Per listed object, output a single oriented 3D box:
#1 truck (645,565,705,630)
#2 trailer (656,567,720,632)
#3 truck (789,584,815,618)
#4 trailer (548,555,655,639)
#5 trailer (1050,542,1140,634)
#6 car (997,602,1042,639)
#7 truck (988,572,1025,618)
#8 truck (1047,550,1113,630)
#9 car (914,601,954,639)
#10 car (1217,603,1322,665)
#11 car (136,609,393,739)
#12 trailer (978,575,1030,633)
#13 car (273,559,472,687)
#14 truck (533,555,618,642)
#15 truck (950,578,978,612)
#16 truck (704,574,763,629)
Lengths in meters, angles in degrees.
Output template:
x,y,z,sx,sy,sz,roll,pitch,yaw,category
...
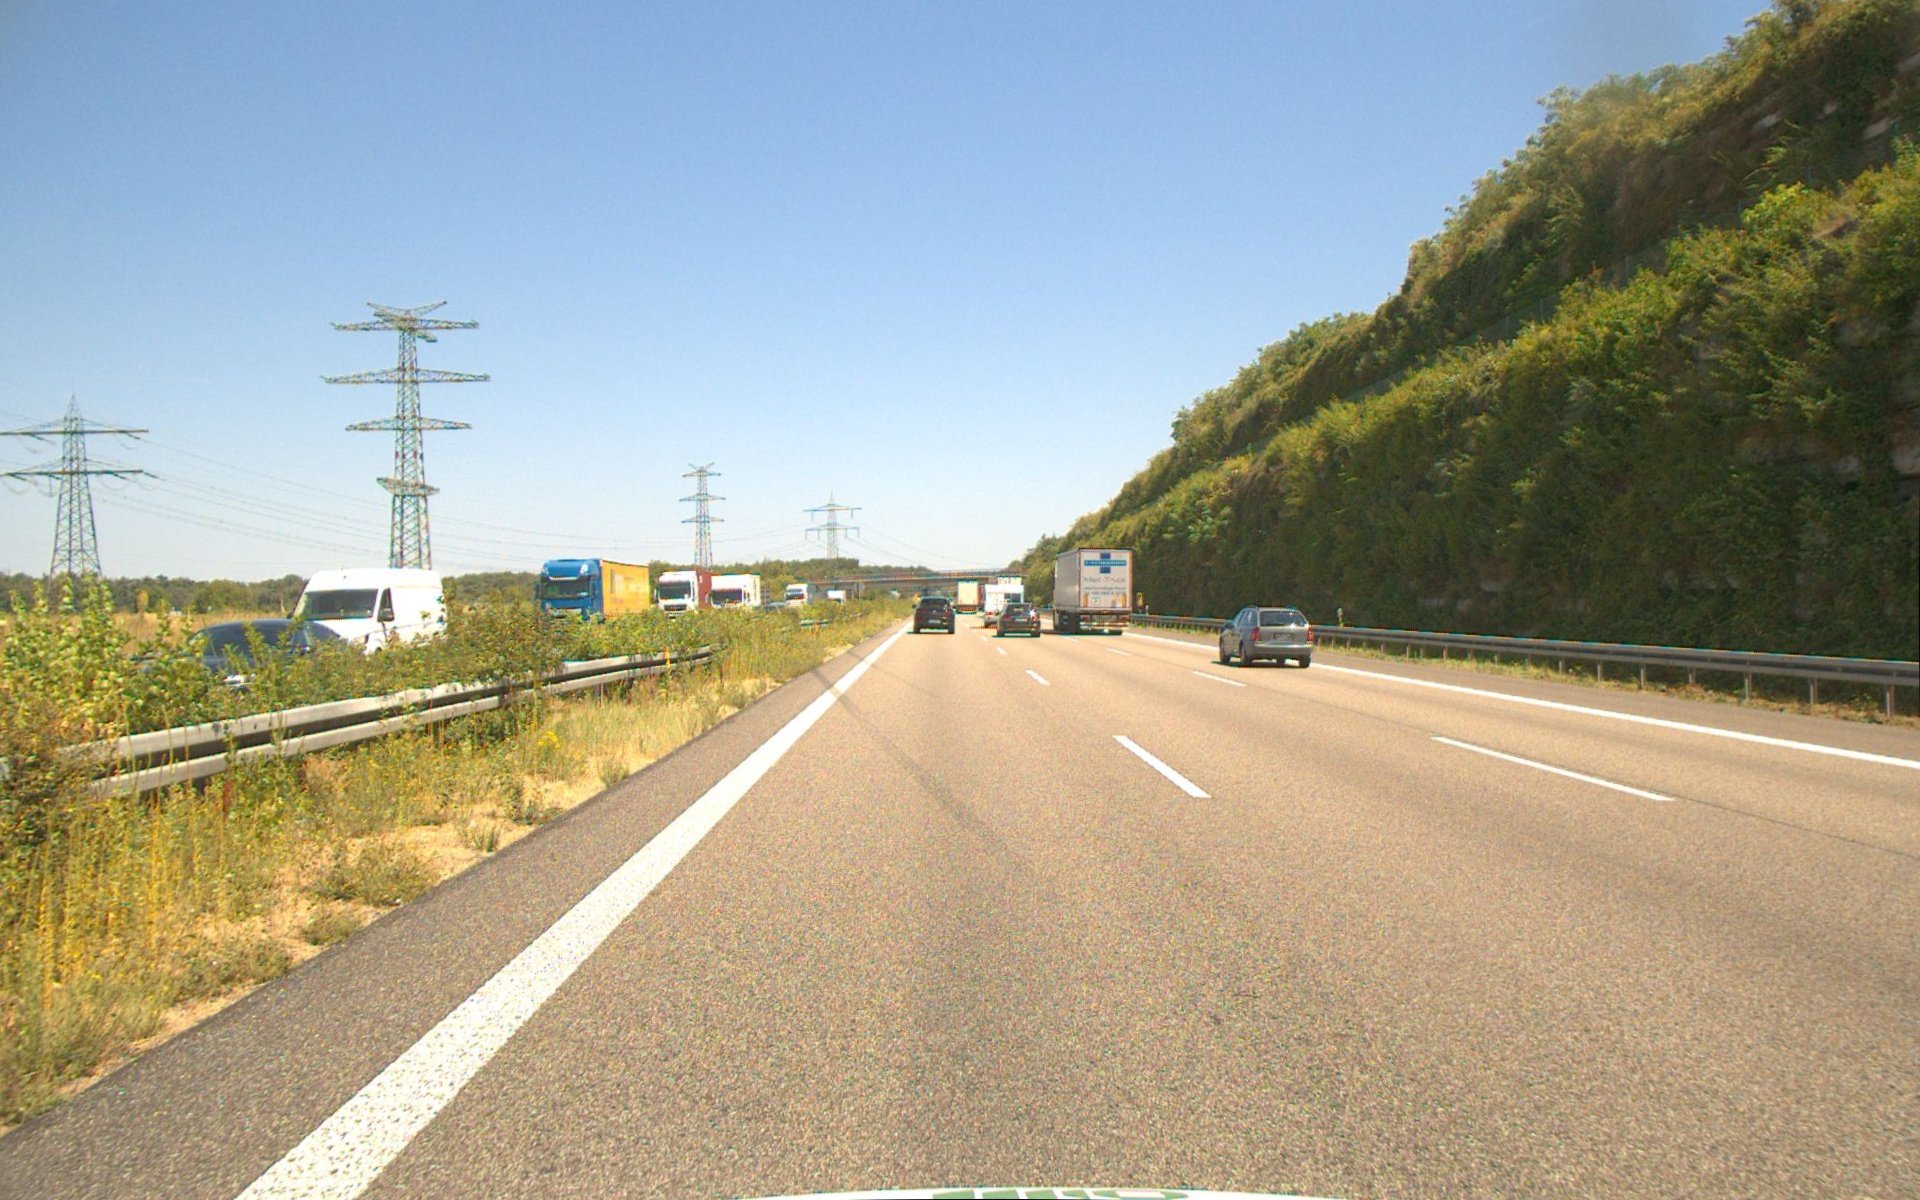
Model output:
x,y,z,sx,sy,sz,roll,pitch,yaw,category
-19.311,-0.187,112.501,3.149,4.231,6.435,-1,0,-3,truck
-19.474,-0.003,118.967,3.129,4.381,12.263,1,0,-3,trailer
-19.625,0.170,205.616,2.641,4.140,5.800,-1,0,-1,truck
-18.664,-0.149,87.136,2.792,4.047,14.139,-1,0,-1,trailer
6.675,-0.566,84.036,3.118,4.193,13.428,-1,0,-1,trailer
2.597,0.892,73.052,1.792,1.552,3.999,-1,0,-1,car
4.608,-0.488,166.303,3.056,4.355,11.931,-1,0,-1,truck
6.520,-0.519,90.735,3.072,4.214,5.502,-1,0,-1,truck
-1.263,0.933,78.708,1.793,1.700,3.999,-1,0,-2,car
7.641,0.813,41.230,1.650,1.453,4.451,0,0,-2,car
-9.341,0.923,22.633,1.761,1.538,4.440,-1,0,-2,car
2.580,0.240,100.313,2.558,3.269,9.949,-1,0,-2,trailer
-13.753,0.491,39.356,2.062,2.677,7.466,-3,0,-1,car
-18.519,-0.082,79.892,2.805,3.976,5.619,-1,0,-1,truck
0.460,-0.659,216.308,3.340,4.355,10.605,-1,0,-1,truck
-15.041,0.102,110.524,2.877,3.473,9.363,-1,0,-2,truck
